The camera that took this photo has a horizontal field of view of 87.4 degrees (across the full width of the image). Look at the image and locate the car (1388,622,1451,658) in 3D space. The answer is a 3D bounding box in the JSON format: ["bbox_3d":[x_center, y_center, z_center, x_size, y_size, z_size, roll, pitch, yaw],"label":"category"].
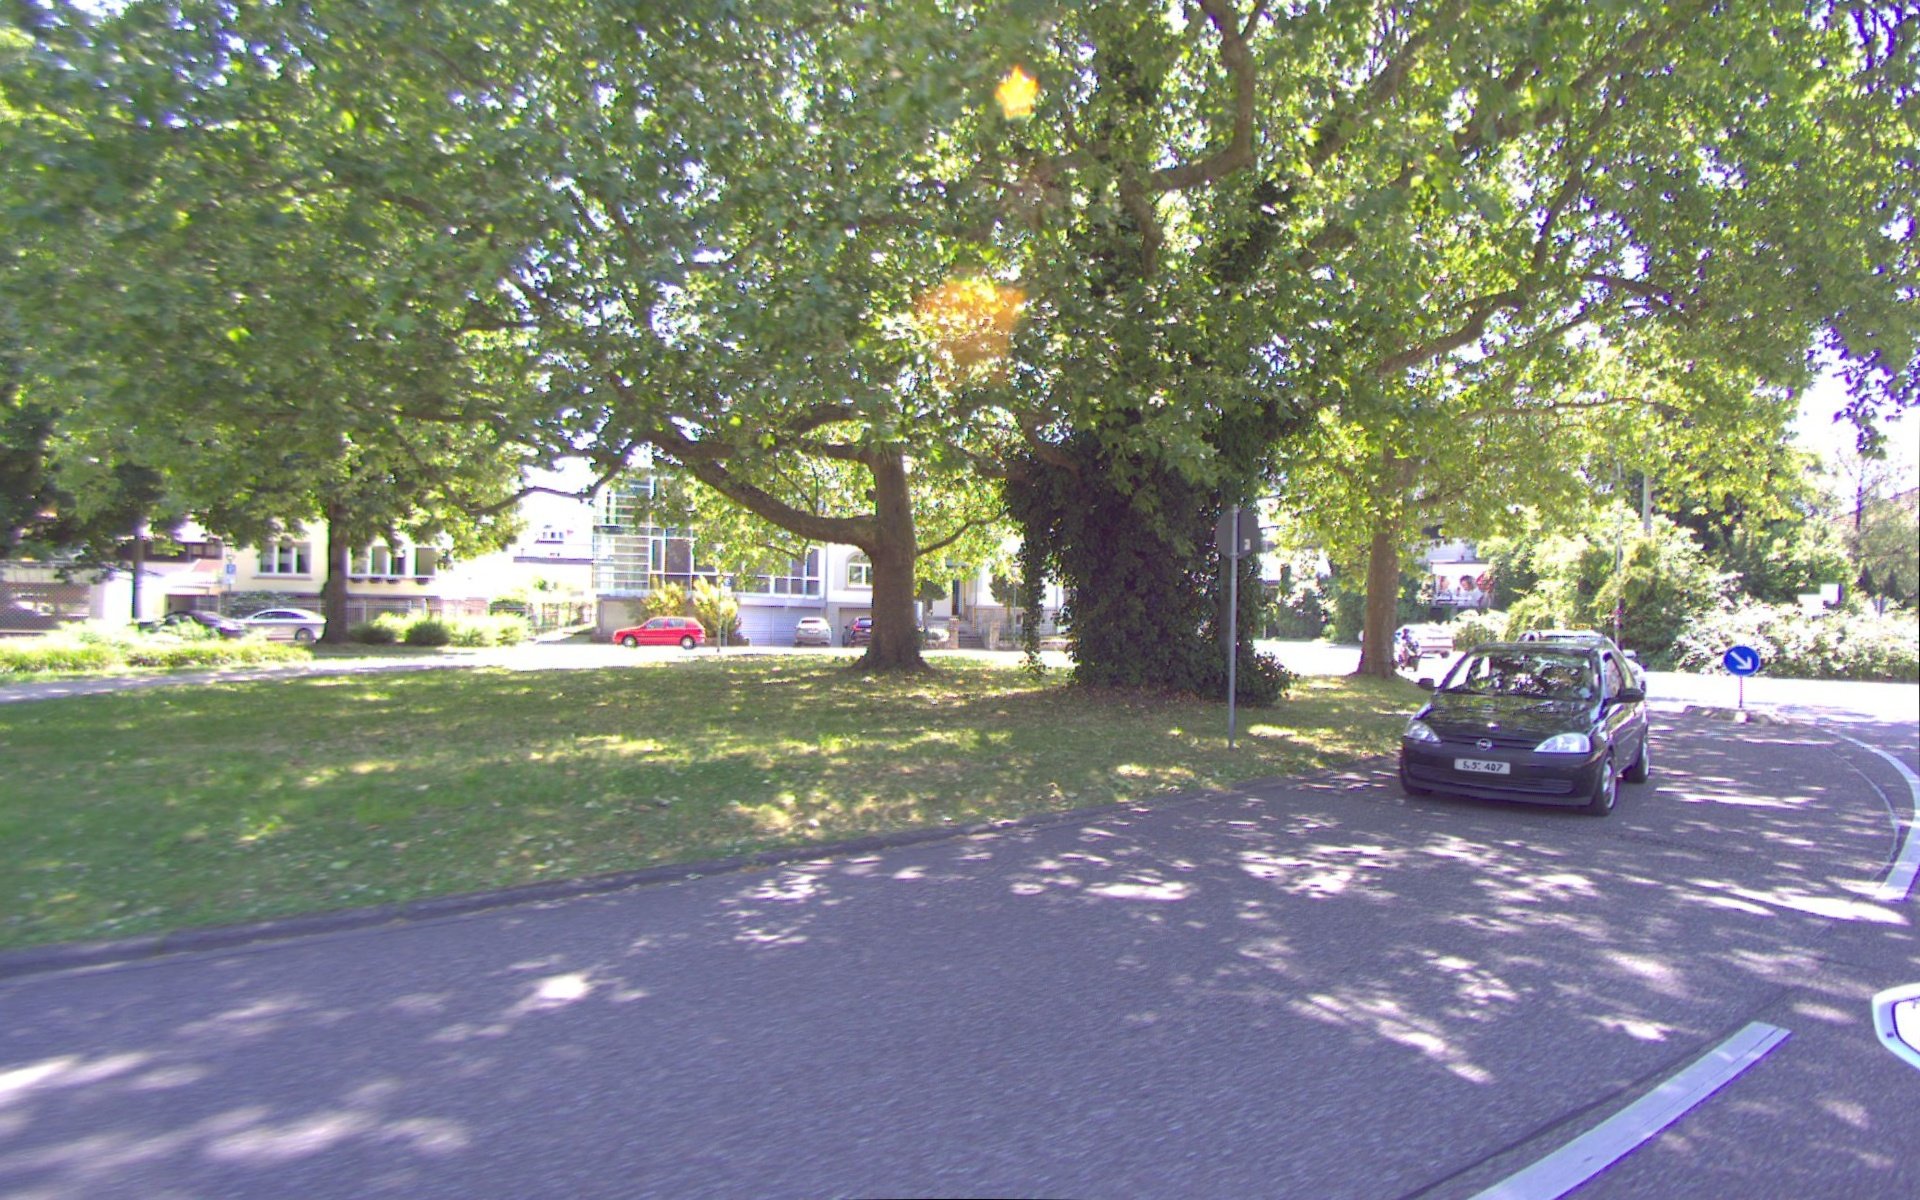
[{"bbox_3d":[23.879,2.029,52.383,1.903,1.635,4.475,5,0,11],"label":"car"}]

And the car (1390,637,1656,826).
[{"bbox_3d":[5.672,1.096,9.874,1.621,1.436,3.982,-1,-2,39],"label":"car"}]

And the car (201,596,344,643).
[{"bbox_3d":[-28.656,0.828,42.012,4.425,1.802,1.997,2,-1,-10],"label":"car"}]

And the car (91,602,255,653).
[{"bbox_3d":[-29.890,1.034,38.332,4.439,1.802,1.991,2,-1,-21],"label":"car"}]

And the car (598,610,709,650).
[{"bbox_3d":[-13.490,1.307,44.467,4.425,1.639,1.997,2,-1,-9],"label":"car"}]

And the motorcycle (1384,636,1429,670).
[{"bbox_3d":[17.456,2.065,39.323,0.794,1.248,2.050,1,-1,-2],"label":"motorcycle"}]

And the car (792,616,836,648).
[{"bbox_3d":[-7.213,1.551,49.891,1.845,1.453,3.997,2,-1,-5],"label":"car"}]

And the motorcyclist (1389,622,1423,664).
[{"bbox_3d":[17.457,1.682,39.361,0.794,1.576,1.104,1,-1,-2],"label":"motorcyclist"}]

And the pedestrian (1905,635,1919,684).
[{"bbox_3d":[32.827,2.028,34.234,0.604,1.649,0.701,1,1,11],"label":"pedestrian"}]

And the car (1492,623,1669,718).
[{"bbox_3d":[12.756,1.385,20.997,2.008,1.770,4.325,-1,-2,16],"label":"car"}]

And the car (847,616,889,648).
[{"bbox_3d":[-4.743,1.612,51.350,1.963,1.445,3.995,3,-1,-7],"label":"car"}]
